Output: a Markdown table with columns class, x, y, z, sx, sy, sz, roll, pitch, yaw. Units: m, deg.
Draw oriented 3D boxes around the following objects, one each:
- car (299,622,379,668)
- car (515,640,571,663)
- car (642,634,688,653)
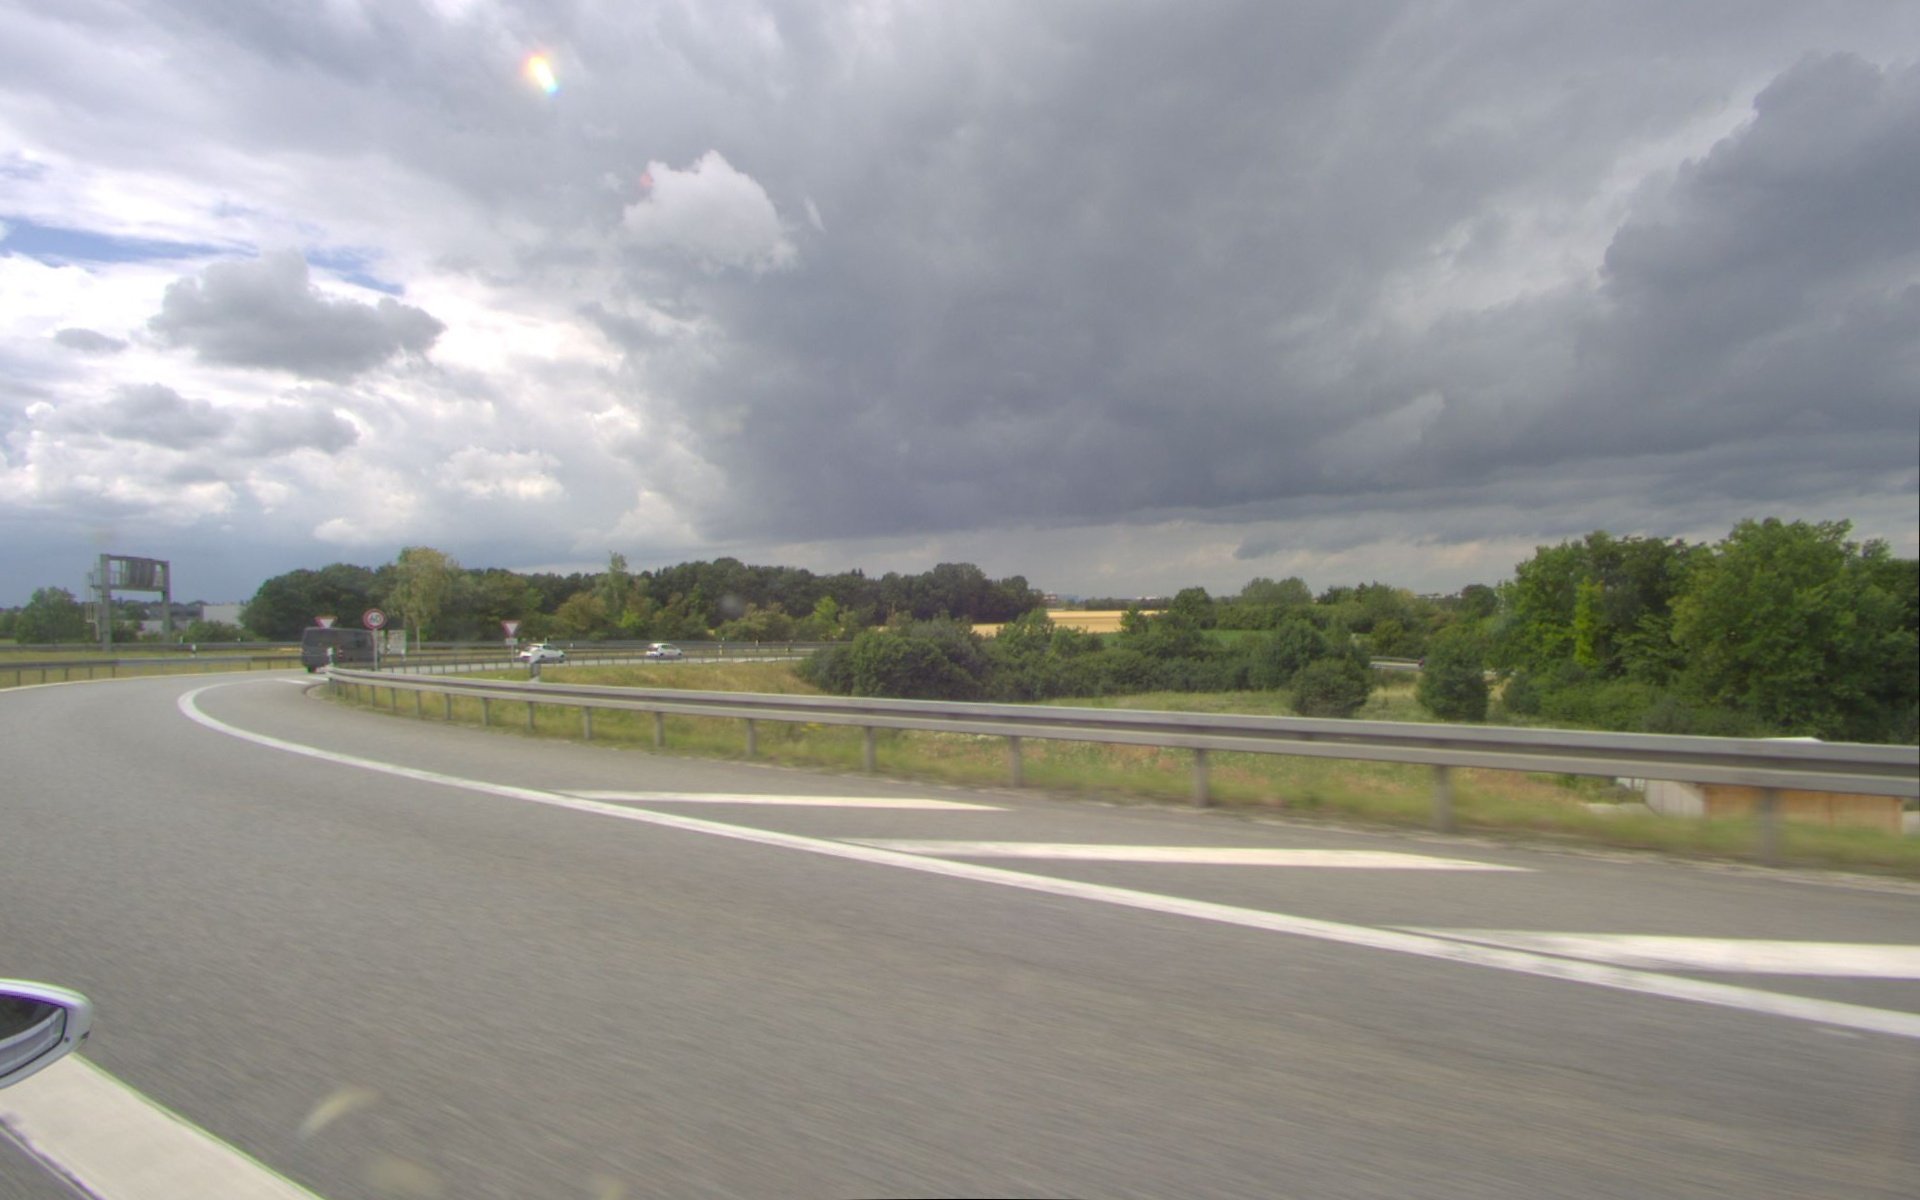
| class | x | y | z | sx | sy | sz | roll | pitch | yaw |
| --- | --- | --- | --- | --- | --- | --- | --- | --- | --- |
| car | -32.891 | 2.334 | 53.196 | 1.877 | 2.291 | 4.647 | 1 | -1 | -9 |
| car | -33.076 | 4.070 | 79.483 | 1.964 | 1.731 | 3.995 | 1 | -1 | 17 |
| car | -27.694 | 4.097 | 94.148 | 1.969 | 1.731 | 3.985 | 1 | -1 | 28 |
